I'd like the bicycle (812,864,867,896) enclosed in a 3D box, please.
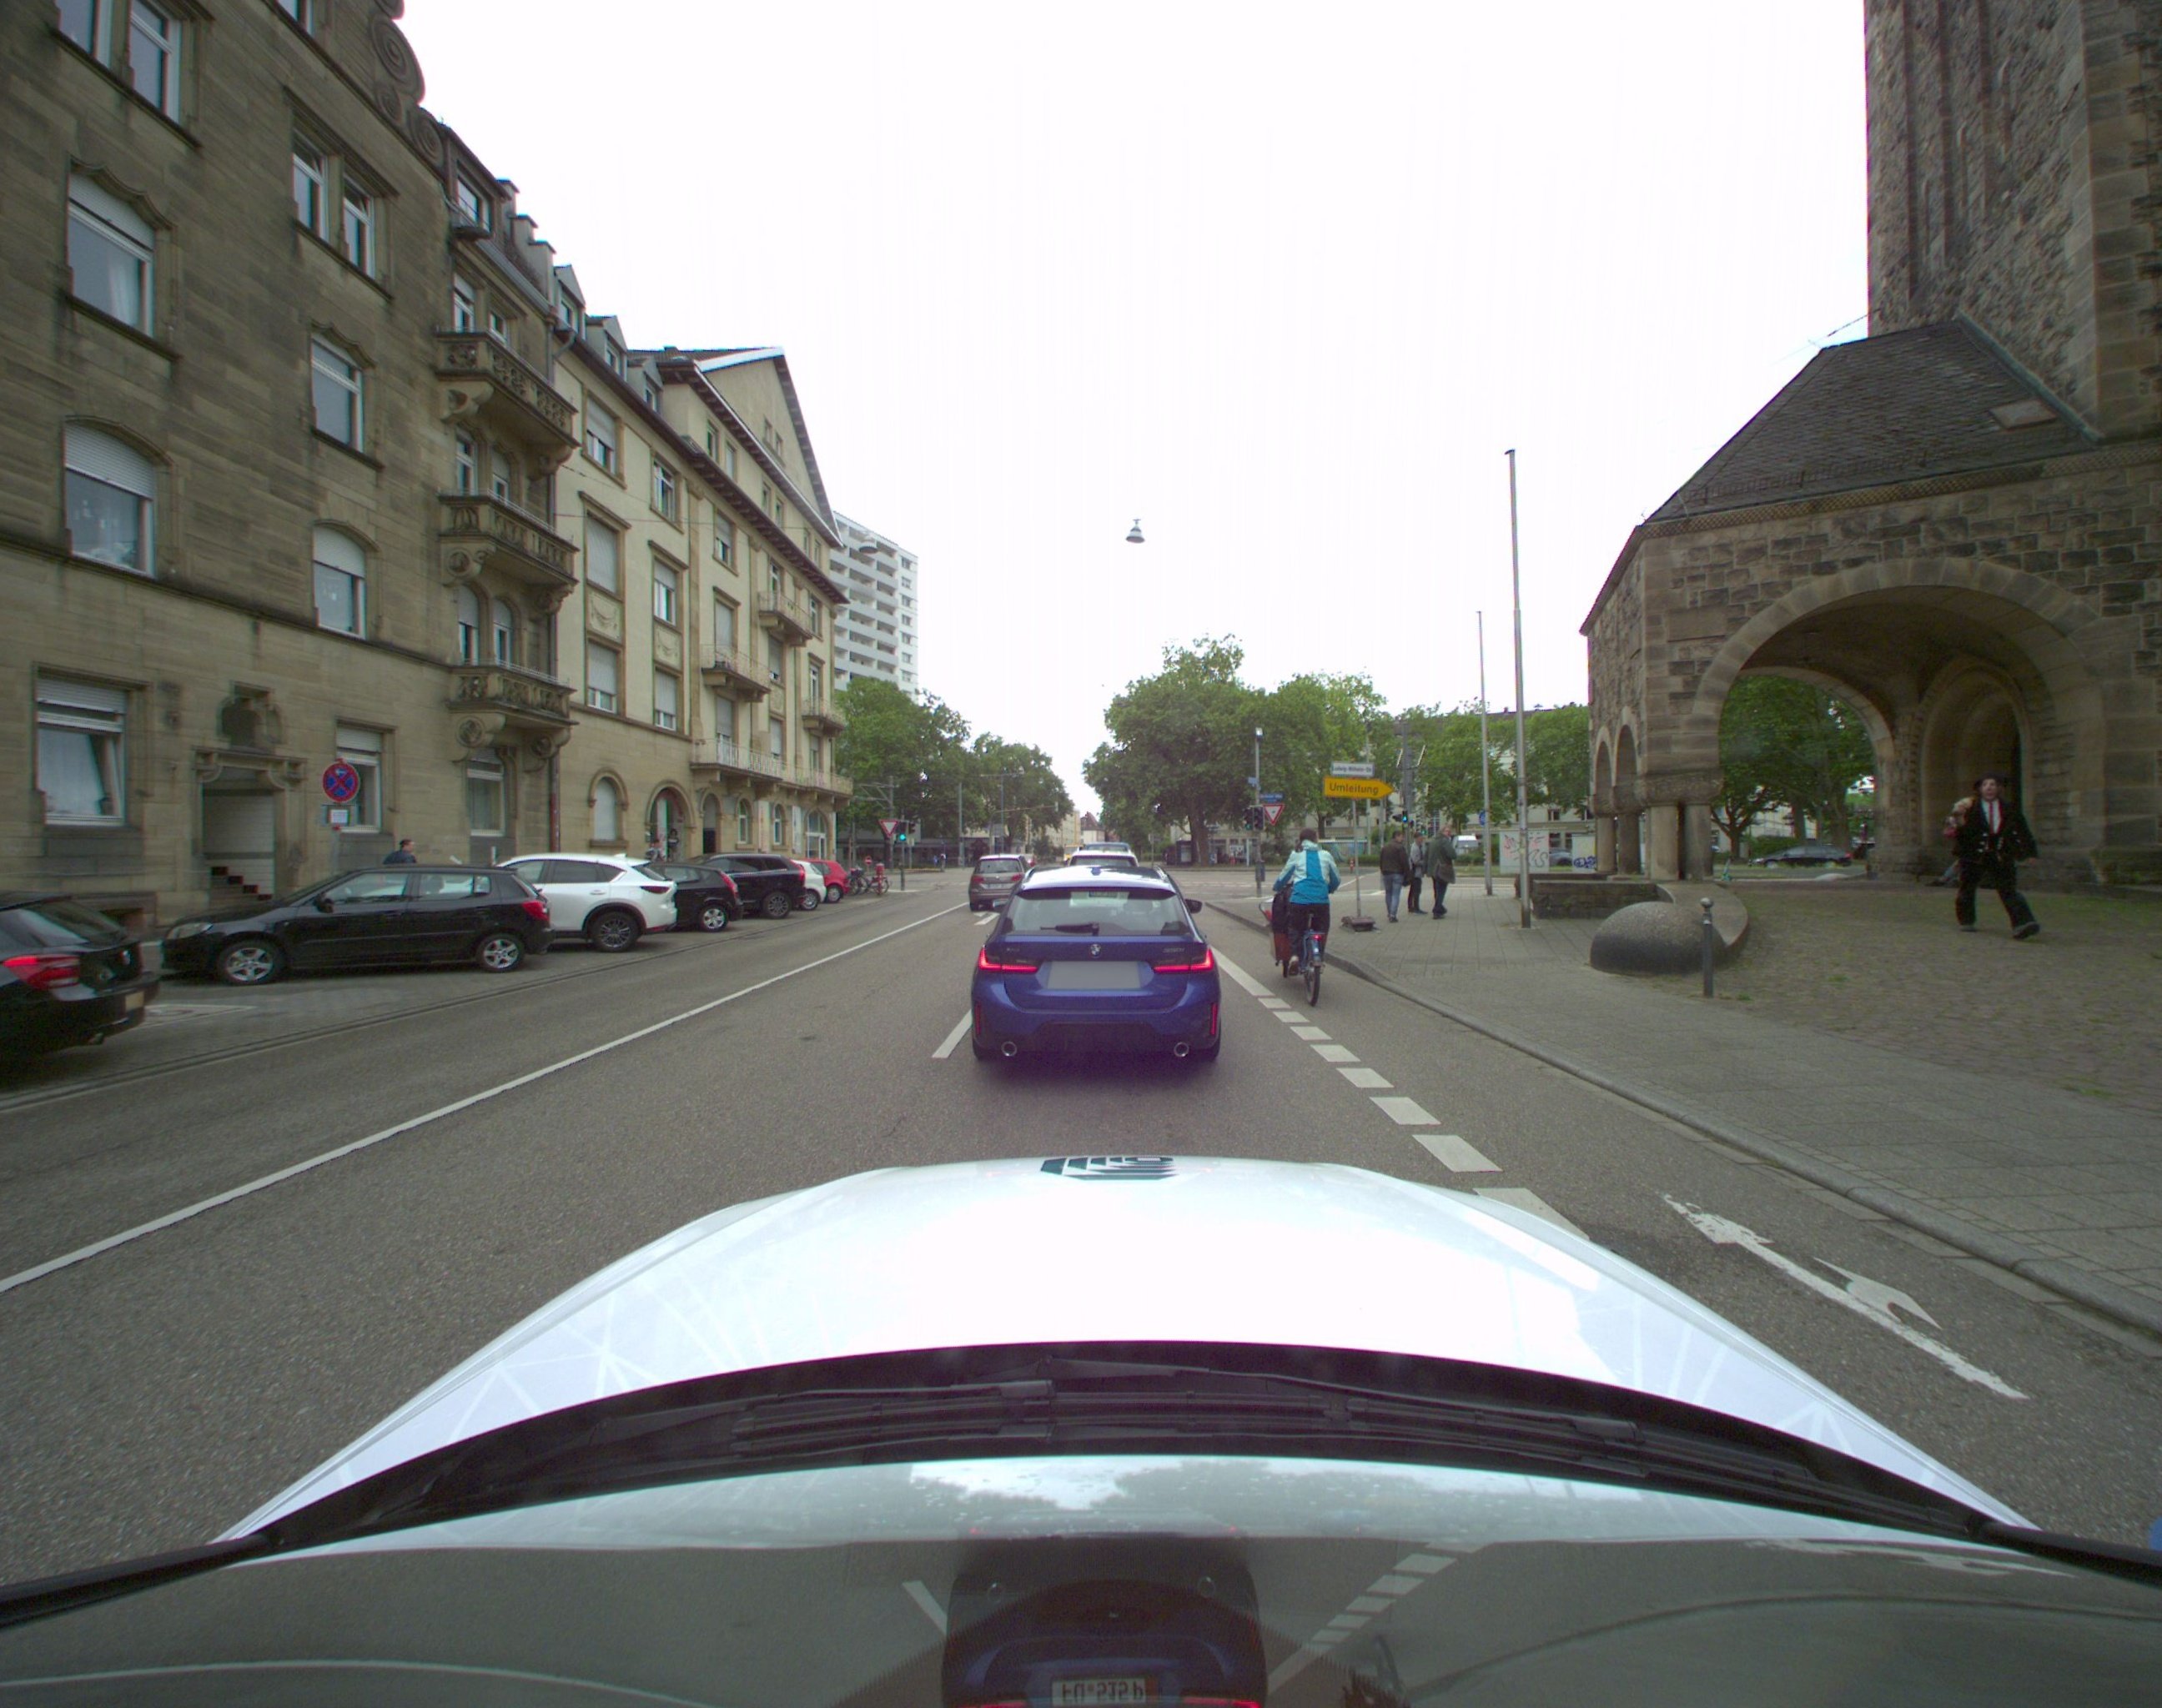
[{"bbox_3d":[-9.152,0.975,30.871,1.880,1.035,0.442,5,0,-1],"label":"bicycle"}]

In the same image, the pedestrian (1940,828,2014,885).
[{"bbox_3d":[15.502,0.046,14.105,0.665,0.951,0.618,-1,0,24],"label":"pedestrian"}]

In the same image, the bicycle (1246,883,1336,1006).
[{"bbox_3d":[2.254,0.919,8.991,0.492,1.098,2.139,-1,0,2],"label":"bicycle"}]

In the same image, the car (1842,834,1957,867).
[{"bbox_3d":[54.712,-0.221,54.544,5.025,2.096,2.004,-1,-1,24],"label":"car"}]

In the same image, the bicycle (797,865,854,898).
[{"bbox_3d":[-9.270,0.993,29.521,1.877,1.035,0.443,4,0,4],"label":"bicycle"}]

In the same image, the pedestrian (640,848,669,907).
[{"bbox_3d":[-13.080,0.699,24.964,0.564,1.785,0.551,-1,0,3],"label":"pedestrian"}]

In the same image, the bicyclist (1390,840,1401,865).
[{"bbox_3d":[21.482,-0.093,55.616,0.608,1.654,0.758,-1,0,23],"label":"bicyclist"}]

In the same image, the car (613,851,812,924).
[{"bbox_3d":[-9.178,0.770,20.493,4.248,1.652,1.711,0,0,-41],"label":"car"}]

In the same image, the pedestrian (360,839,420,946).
[{"bbox_3d":[-12.962,0.713,15.282,0.616,1.958,0.551,-1,0,2],"label":"pedestrian"}]

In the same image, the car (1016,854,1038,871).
[{"bbox_3d":[-4.743,0.761,71.787,1.643,1.447,3.512,-1,0,2],"label":"car"}]

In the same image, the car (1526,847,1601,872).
[{"bbox_3d":[30.783,0.360,52.062,3.940,1.561,1.697,-1,-1,24],"label":"car"}]

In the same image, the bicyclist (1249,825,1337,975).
[{"bbox_3d":[2.265,0.464,8.803,0.683,1.517,1.059,-1,0,2],"label":"bicyclist"}]

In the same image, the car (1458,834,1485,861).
[{"bbox_3d":[39.297,-0.665,81.896,2.214,2.639,5.480,-1,0,28],"label":"car"}]

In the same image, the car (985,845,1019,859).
[{"bbox_3d":[-10.294,-0.267,105.952,4.014,1.706,1.980,0,-1,-32],"label":"car"}]

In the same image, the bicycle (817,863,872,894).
[{"bbox_3d":[-9.149,0.954,31.533,1.880,1.035,0.442,5,0,-1],"label":"bicycle"}]

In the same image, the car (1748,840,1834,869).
[{"bbox_3d":[41.186,0.038,47.340,3.425,1.561,1.697,-1,-1,24],"label":"car"}]

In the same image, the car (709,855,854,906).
[{"bbox_3d":[-9.497,0.811,26.048,1.663,1.472,4.024,1,0,43],"label":"car"}]

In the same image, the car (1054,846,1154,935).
[{"bbox_3d":[0.481,0.665,16.978,1.808,1.592,4.002,-1,0,2],"label":"car"}]

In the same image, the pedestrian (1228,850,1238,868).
[{"bbox_3d":[15.072,0.458,80.875,0.781,1.743,0.925,-1,0,0],"label":"pedestrian"}]

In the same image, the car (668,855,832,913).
[{"bbox_3d":[-9.364,0.824,23.215,4.021,1.472,1.546,2,0,-41],"label":"car"}]

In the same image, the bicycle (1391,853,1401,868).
[{"bbox_3d":[21.502,0.414,55.610,0.546,0.995,2.072,-1,0,24],"label":"bicycle"}]

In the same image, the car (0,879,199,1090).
[{"bbox_3d":[-9.112,0.902,5.469,4.016,1.417,1.644,1,-1,-34],"label":"car"}]

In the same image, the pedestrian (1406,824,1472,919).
[{"bbox_3d":[6.984,0.323,15.927,0.801,1.758,0.969,-3,0,1],"label":"pedestrian"}]

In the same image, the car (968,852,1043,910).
[{"bbox_3d":[-2.146,0.727,24.148,1.726,1.525,4.002,-1,0,2],"label":"car"}]

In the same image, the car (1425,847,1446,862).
[{"bbox_3d":[35.005,0.037,80.381,1.649,1.515,3.962,-1,0,28],"label":"car"}]

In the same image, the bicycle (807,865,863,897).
[{"bbox_3d":[-9.154,0.993,30.335,1.880,1.035,0.442,5,0,-1],"label":"bicycle"}]

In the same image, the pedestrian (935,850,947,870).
[{"bbox_3d":[-12.679,0.571,73.821,0.668,1.771,0.730,-1,0,43],"label":"pedestrian"}]

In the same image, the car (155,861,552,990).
[{"bbox_3d":[-9.631,0.865,11.207,3.830,1.497,1.552,1,-1,-37],"label":"car"}]

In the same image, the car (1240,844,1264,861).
[{"bbox_3d":[22.720,-0.209,107.828,2.154,2.200,4.023,-1,0,26],"label":"car"}]

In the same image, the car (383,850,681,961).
[{"bbox_3d":[-9.280,0.795,14.207,4.004,1.723,1.827,0,0,-23],"label":"car"}]

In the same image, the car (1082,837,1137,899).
[{"bbox_3d":[1.004,0.449,28.929,1.808,2.005,4.002,-1,0,2],"label":"car"}]

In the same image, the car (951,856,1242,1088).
[{"bbox_3d":[0.168,0.754,7.290,1.808,1.405,4.322,-1,0,2],"label":"car"}]

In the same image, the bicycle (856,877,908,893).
[{"bbox_3d":[-8.222,1.291,33.735,1.880,0.445,1.029,5,2,-1],"label":"bicycle"}]

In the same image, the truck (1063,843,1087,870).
[{"bbox_3d":[-0.549,0.205,76.321,2.068,2.408,5.461,-2,0,0],"label":"truck"}]

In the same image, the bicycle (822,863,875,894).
[{"bbox_3d":[-9.165,0.972,32.169,1.880,1.035,0.442,5,0,-1],"label":"bicycle"}]

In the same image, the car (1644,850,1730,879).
[{"bbox_3d":[36.753,0.651,49.521,3.901,1.711,1.697,-1,-1,24],"label":"car"}]

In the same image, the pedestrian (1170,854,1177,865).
[{"bbox_3d":[11.798,0.673,103.894,0.814,1.372,0.763,-1,0,1],"label":"pedestrian"}]

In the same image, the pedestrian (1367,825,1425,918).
[{"bbox_3d":[5.989,0.331,15.543,0.672,1.686,0.969,-3,0,2],"label":"pedestrian"}]

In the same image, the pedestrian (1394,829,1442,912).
[{"bbox_3d":[7.033,0.332,17.040,0.629,1.673,0.971,-3,0,8],"label":"pedestrian"}]

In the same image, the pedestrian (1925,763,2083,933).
[{"bbox_3d":[10.399,-0.086,9.234,0.806,1.808,1.026,-1,3,22],"label":"pedestrian"}]

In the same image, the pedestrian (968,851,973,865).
[{"bbox_3d":[-13.630,0.505,100.687,0.571,1.771,0.513,-1,0,-11],"label":"pedestrian"}]

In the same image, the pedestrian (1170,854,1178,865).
[{"bbox_3d":[11.775,0.701,103.031,0.850,1.314,0.763,-1,0,1],"label":"pedestrian"}]

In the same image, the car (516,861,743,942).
[{"bbox_3d":[-9.447,0.911,17.170,4.017,1.494,1.713,0,0,-36],"label":"car"}]

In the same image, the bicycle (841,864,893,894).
[{"bbox_3d":[-8.586,1.000,32.704,1.880,1.035,0.442,5,0,-1],"label":"bicycle"}]
